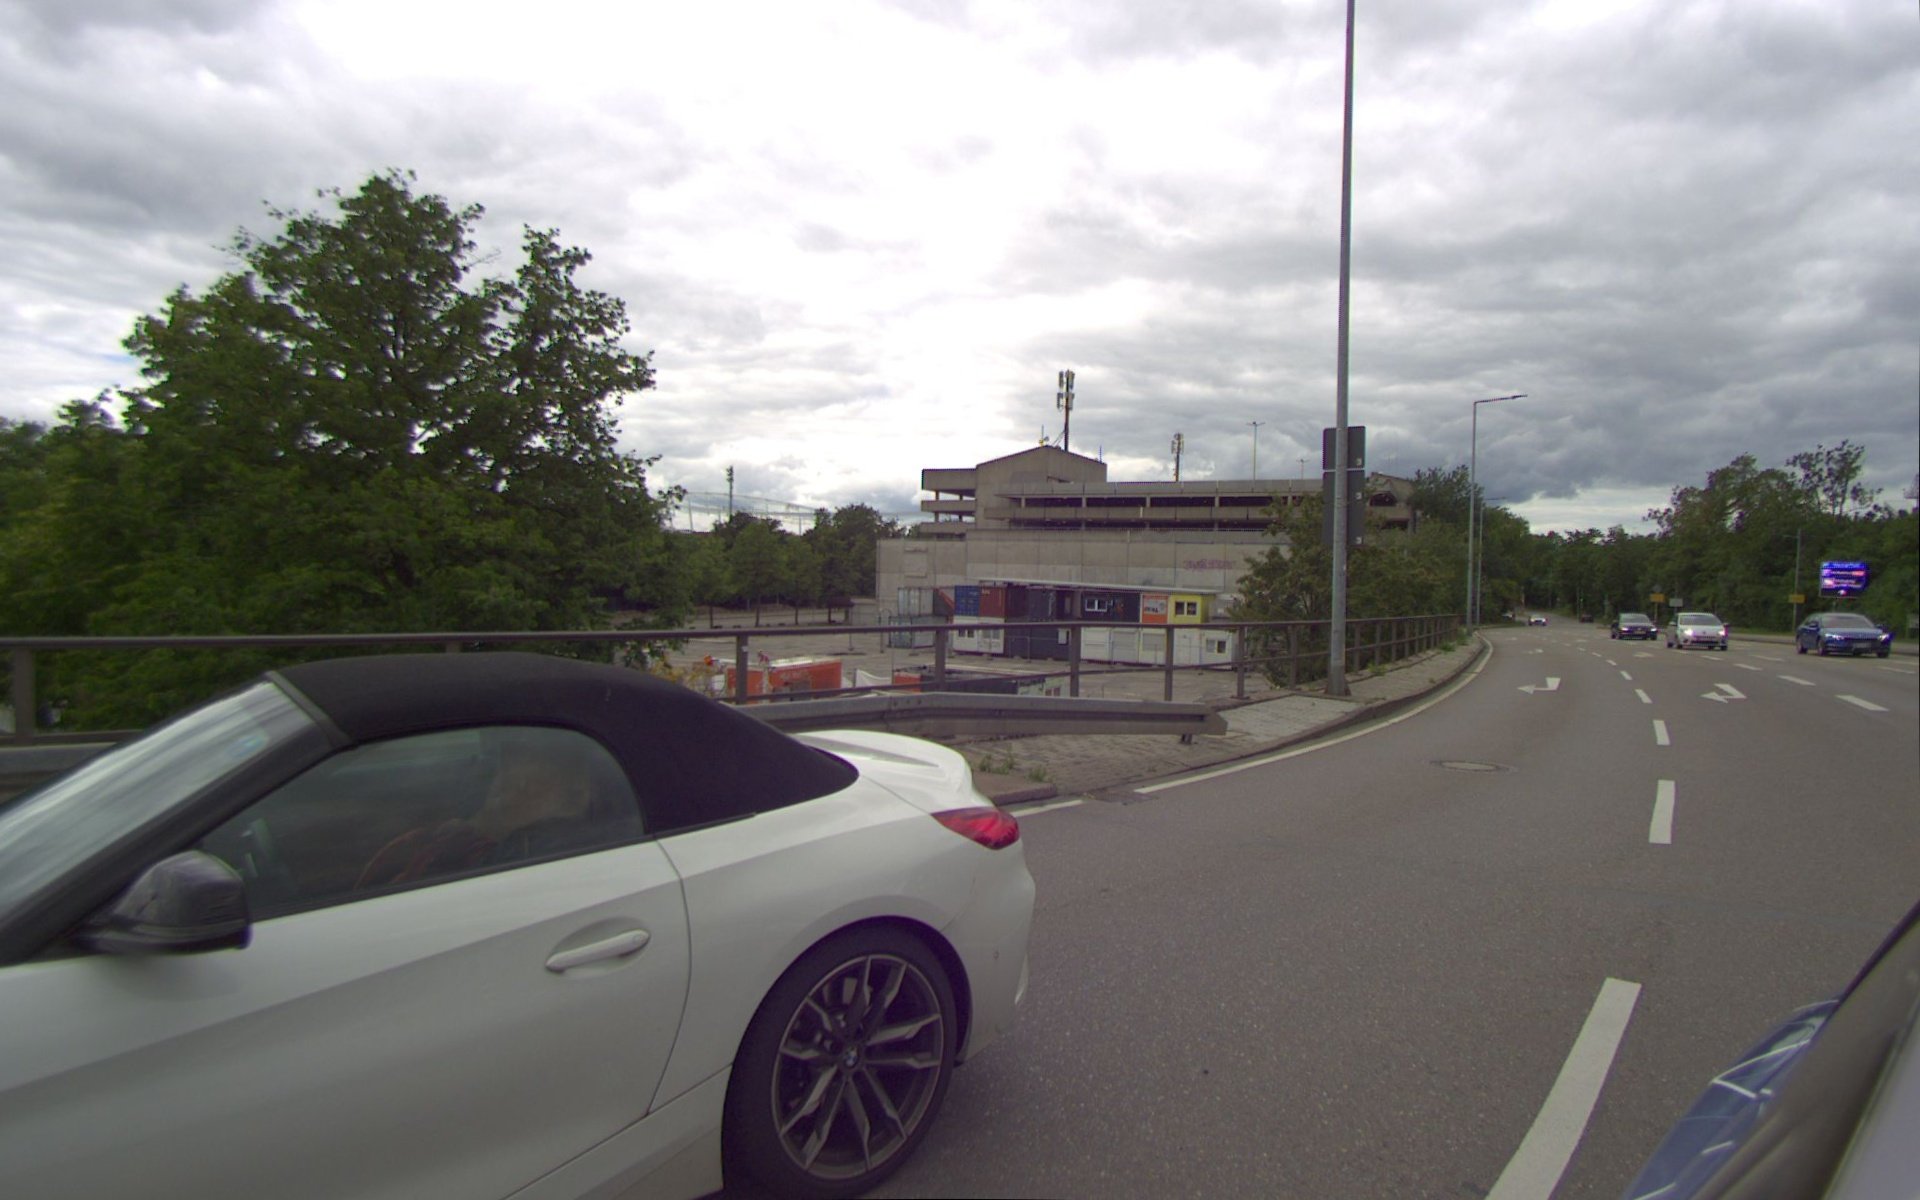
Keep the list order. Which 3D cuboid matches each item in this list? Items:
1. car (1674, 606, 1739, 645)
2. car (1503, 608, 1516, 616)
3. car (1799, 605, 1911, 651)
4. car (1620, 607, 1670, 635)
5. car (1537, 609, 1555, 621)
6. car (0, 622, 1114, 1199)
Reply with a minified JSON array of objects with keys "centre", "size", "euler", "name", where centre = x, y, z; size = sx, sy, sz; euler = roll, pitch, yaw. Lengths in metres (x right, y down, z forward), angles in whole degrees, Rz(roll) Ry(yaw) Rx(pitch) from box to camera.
[{"centre":[29.550,0.979,40.125],"size":[1.596,1.434,3.554],"euler":[1,0,29],"name":"car"},{"centre":[96.580,2.139,177.820],"size":[1.847,1.434,4.299],"euler":[1,0,26],"name":"car"},{"centre":[30.479,0.911,34.614],"size":[1.827,1.434,4.534],"euler":[1,0,28],"name":"car"},{"centre":[37.521,1.095,55.513],"size":[1.849,1.434,4.294],"euler":[1,0,29],"name":"car"},{"centre":[75.008,1.879,129.639],"size":[1.849,1.434,4.295],"euler":[1,0,28],"name":"car"},{"centre":[-1.726,0.753,2.400],"size":[4.186,1.308,1.809],"euler":[0,0,-39],"name":"car"}]
